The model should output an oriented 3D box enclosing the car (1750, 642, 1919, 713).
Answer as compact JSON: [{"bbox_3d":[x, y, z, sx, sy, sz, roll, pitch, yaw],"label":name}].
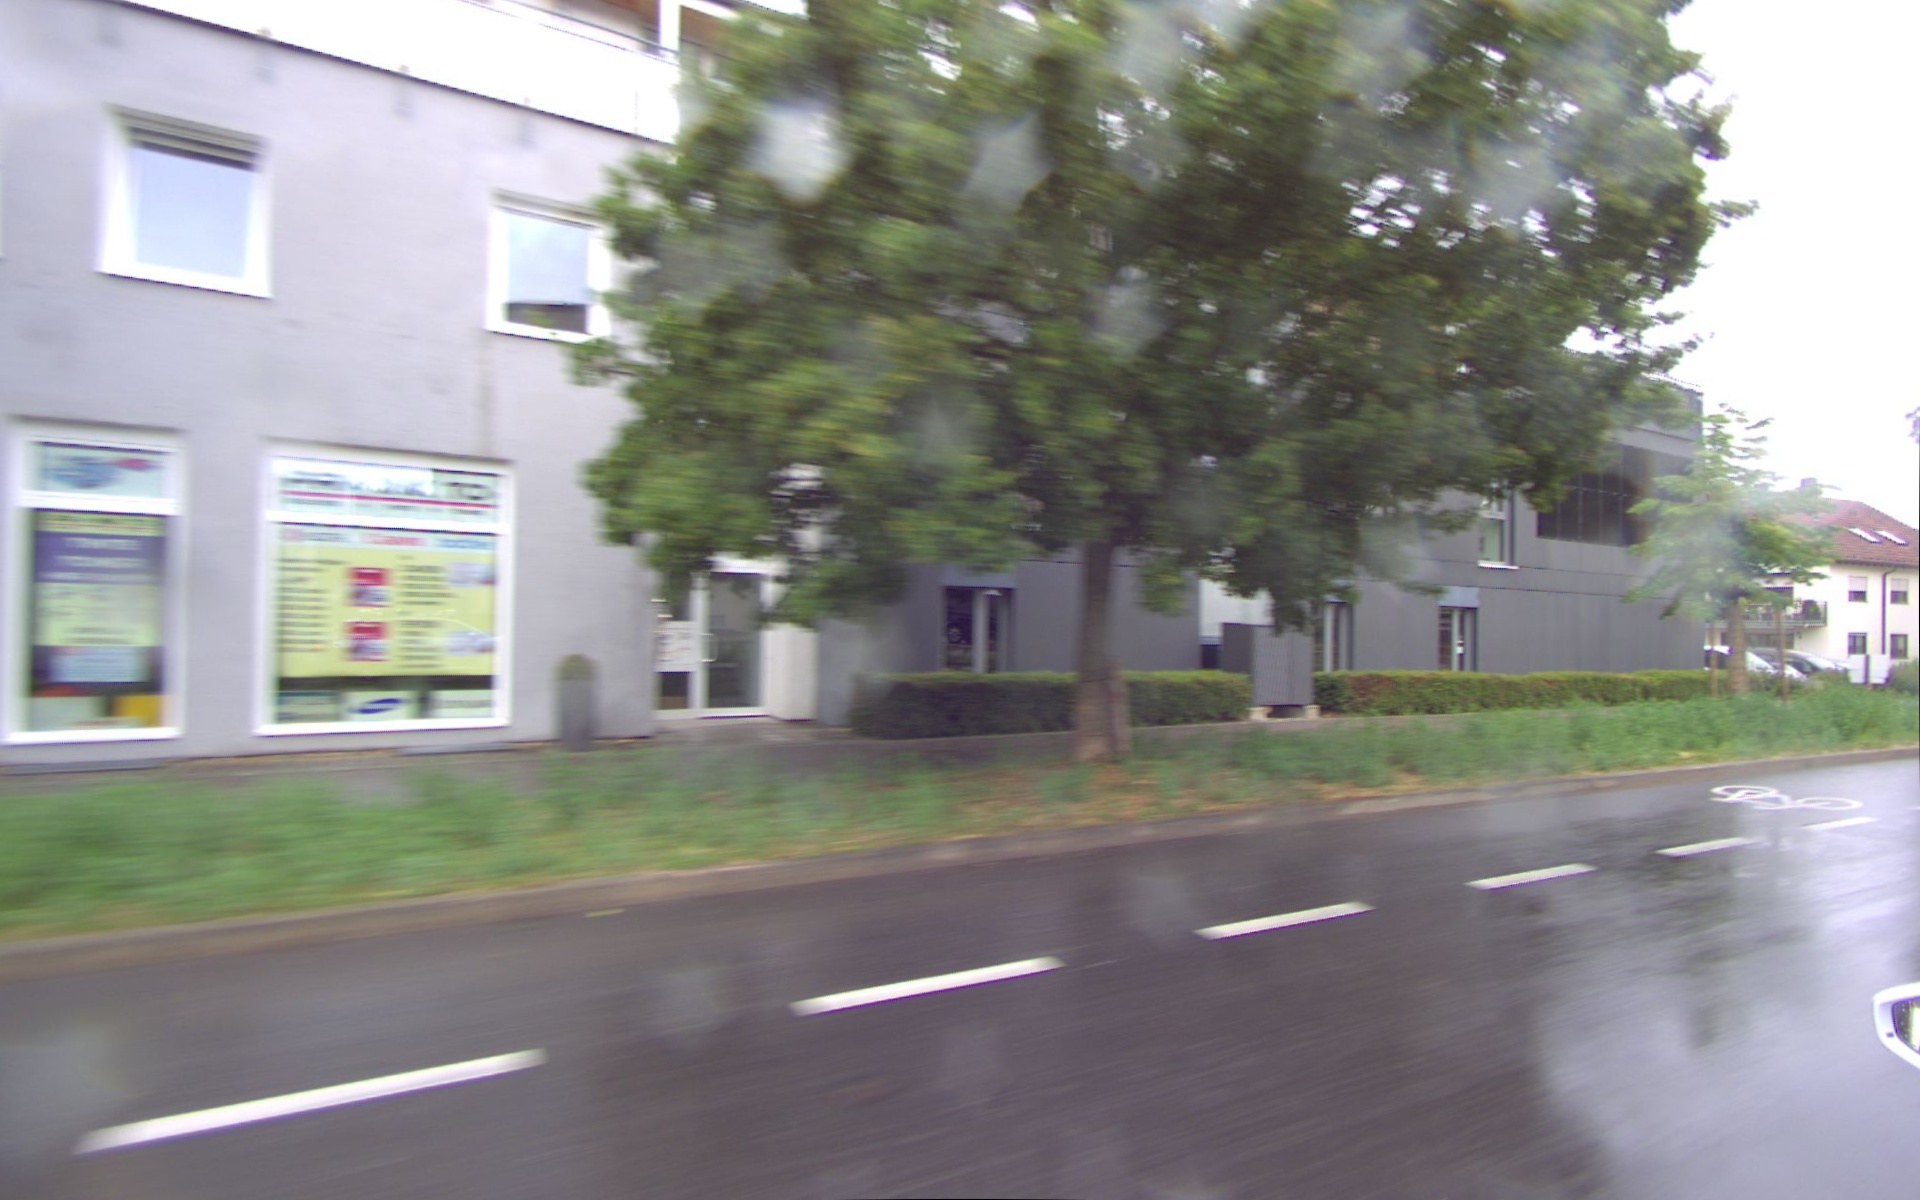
[{"bbox_3d":[16.051,1.350,17.808,1.453,1.174,2.896,2,-3,-28],"label":"car"}]

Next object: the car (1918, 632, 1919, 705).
[{"bbox_3d":[20.586,1.370,19.327,1.238,1.473,2.896,4,-4,-28],"label":"car"}]

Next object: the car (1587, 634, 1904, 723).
[{"bbox_3d":[12.908,1.246,16.773,1.562,1.301,3.884,2,-3,-28],"label":"car"}]

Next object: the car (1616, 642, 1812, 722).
[{"bbox_3d":[23.195,2.433,31.072,2.129,2.040,4.374,0,0,-31],"label":"car"}]
